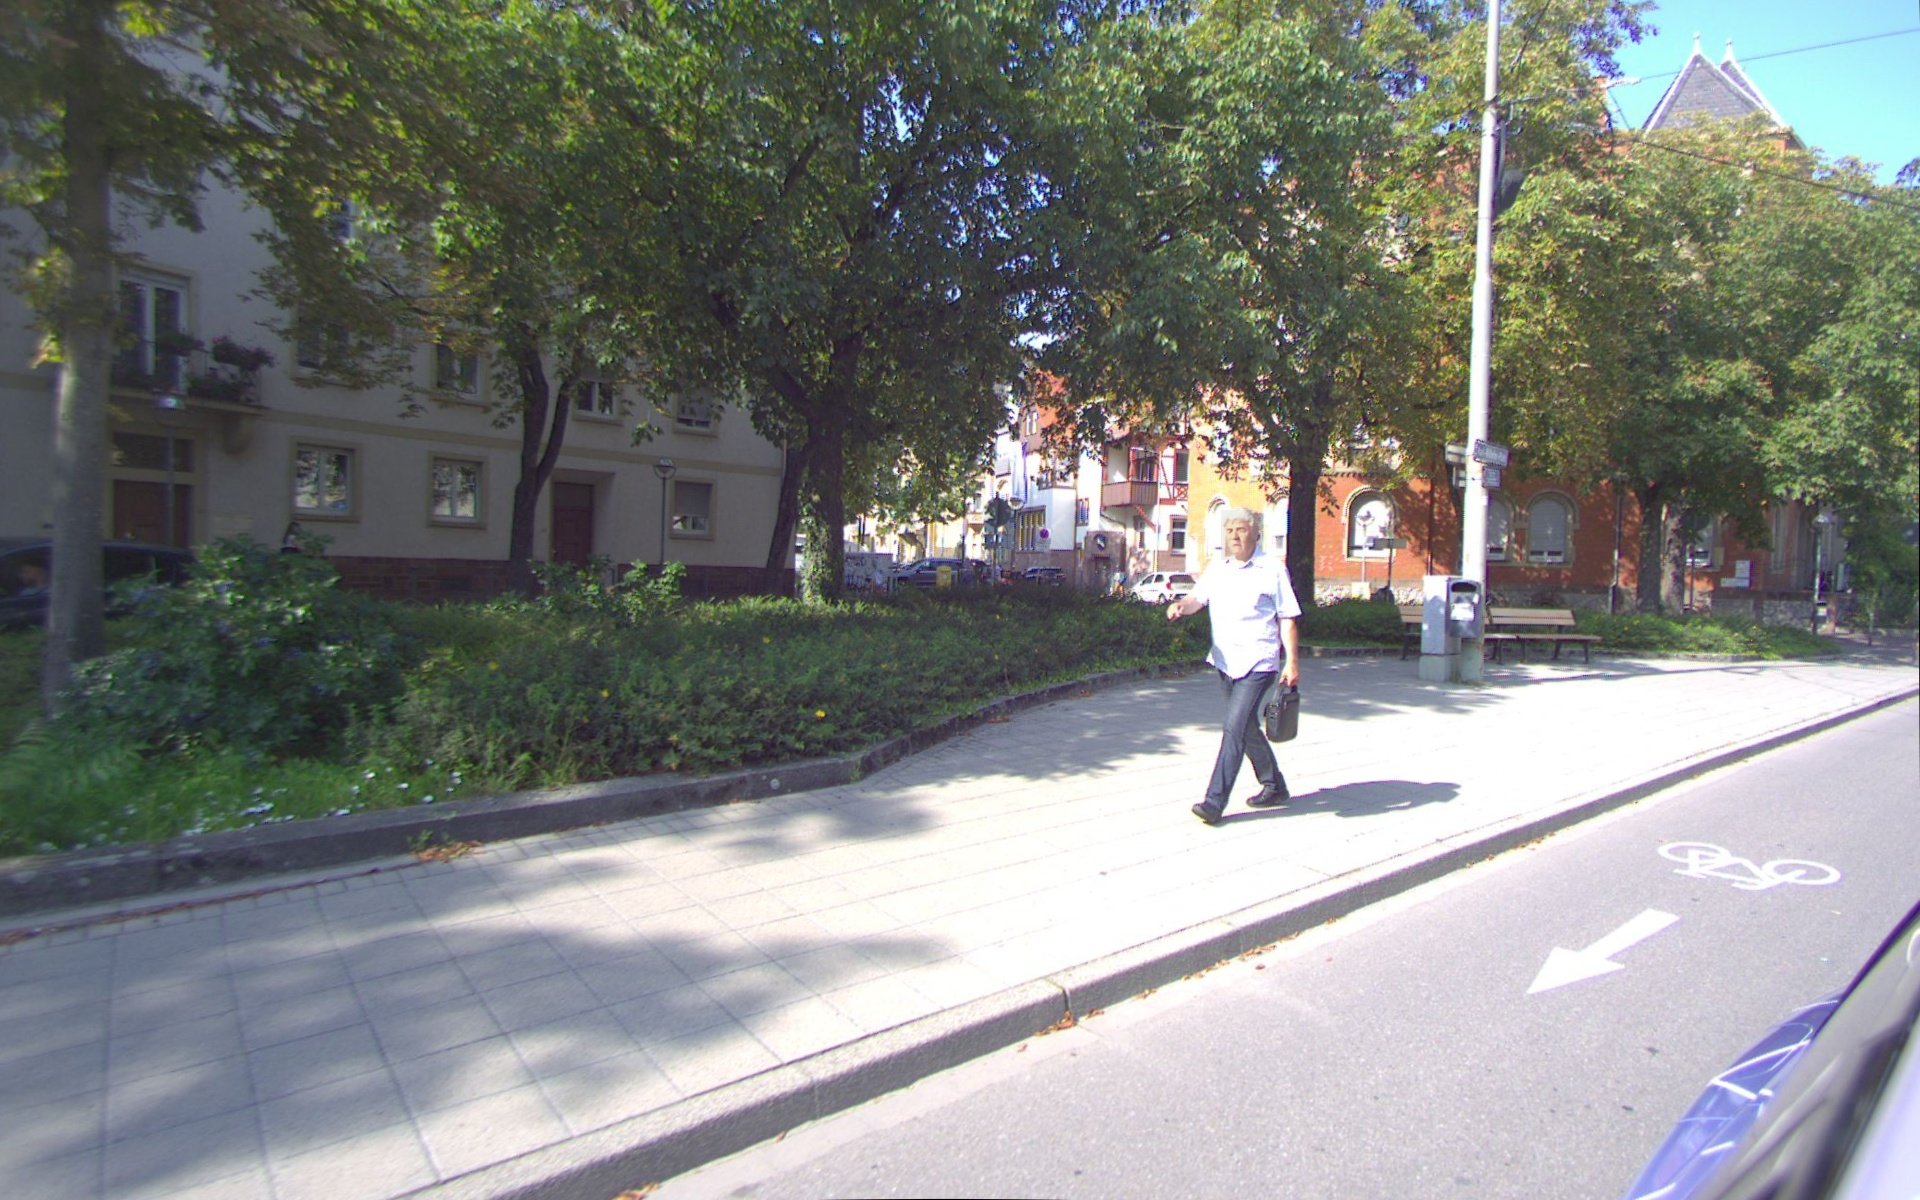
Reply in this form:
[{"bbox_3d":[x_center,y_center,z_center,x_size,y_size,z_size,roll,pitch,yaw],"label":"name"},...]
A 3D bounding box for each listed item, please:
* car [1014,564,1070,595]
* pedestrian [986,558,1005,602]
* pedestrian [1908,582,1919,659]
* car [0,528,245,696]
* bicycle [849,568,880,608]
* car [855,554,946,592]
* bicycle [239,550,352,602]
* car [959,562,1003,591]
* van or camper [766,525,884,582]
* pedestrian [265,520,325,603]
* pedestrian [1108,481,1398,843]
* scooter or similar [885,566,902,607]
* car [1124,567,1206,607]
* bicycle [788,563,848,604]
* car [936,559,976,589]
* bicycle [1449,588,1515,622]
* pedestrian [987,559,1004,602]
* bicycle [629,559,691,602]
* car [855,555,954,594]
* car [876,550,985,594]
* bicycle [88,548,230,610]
[{"bbox_3d":[4.449,-1.127,55.571,1.588,1.586,4.010,1,2,-18],"label":"car"},{"bbox_3d":[1.483,-0.828,41.718,0.645,1.785,0.605,2,1,12],"label":"pedestrian"},{"bbox_3d":[22.097,0.483,22.984,0.647,1.739,0.545,1,2,-24],"label":"pedestrian"},{"bbox_3d":[-9.250,0.058,9.537,1.727,1.469,3.871,4,2,16],"label":"car"},{"bbox_3d":[-2.705,-0.360,28.640,0.596,1.071,1.844,1,2,-13],"label":"bicycle"},{"bbox_3d":[-2.875,-1.280,48.658,3.938,1.480,1.666,4,0,-25],"label":"car"},{"bbox_3d":[-13.683,-0.495,20.879,0.532,1.019,1.882,3,2,39],"label":"bicycle"},{"bbox_3d":[1.325,-1.552,65.546,1.588,1.722,4.010,1,2,-18],"label":"car"},{"bbox_3d":[-8.359,-2.817,62.834,6.796,2.918,2.004,4,-2,-20],"label":"van or camper"},{"bbox_3d":[-13.836,-0.804,21.062,0.685,1.692,0.854,3,2,38],"label":"pedestrian"},{"bbox_3d":[1.598,0.261,5.592,0.952,1.745,1.080,0,5,-40],"label":"pedestrian"},{"bbox_3d":[-1.939,-0.402,29.426,0.433,1.172,1.114,1,2,-5],"label":"scooter or similar"},{"bbox_3d":[8.637,-0.582,42.994,1.588,1.586,4.010,1,2,-18],"label":"car"},{"bbox_3d":[-3.994,-0.478,28.373,1.862,1.071,0.599,3,2,41],"label":"bicycle"},{"bbox_3d":[-0.331,-1.834,70.429,1.588,1.946,4.010,1,2,-18],"label":"car"},{"bbox_3d":[16.799,0.176,32.597,1.805,1.072,0.608,0,-1,2],"label":"bicycle"},{"bbox_3d":[1.486,-0.833,42.677,0.581,1.785,0.605,2,1,10],"label":"pedestrian"},{"bbox_3d":[-7.704,-0.509,26.042,1.460,1.073,0.417,0,3,-36],"label":"bicycle"},{"bbox_3d":[-2.545,-1.169,46.459,4.107,1.480,1.666,4,0,-25],"label":"car"},{"bbox_3d":[-1.214,-1.131,41.240,4.106,1.658,1.667,1,2,-19],"label":"car"},{"bbox_3d":[-13.945,-0.373,17.678,0.530,1.019,1.889,2,2,29],"label":"bicycle"}]
